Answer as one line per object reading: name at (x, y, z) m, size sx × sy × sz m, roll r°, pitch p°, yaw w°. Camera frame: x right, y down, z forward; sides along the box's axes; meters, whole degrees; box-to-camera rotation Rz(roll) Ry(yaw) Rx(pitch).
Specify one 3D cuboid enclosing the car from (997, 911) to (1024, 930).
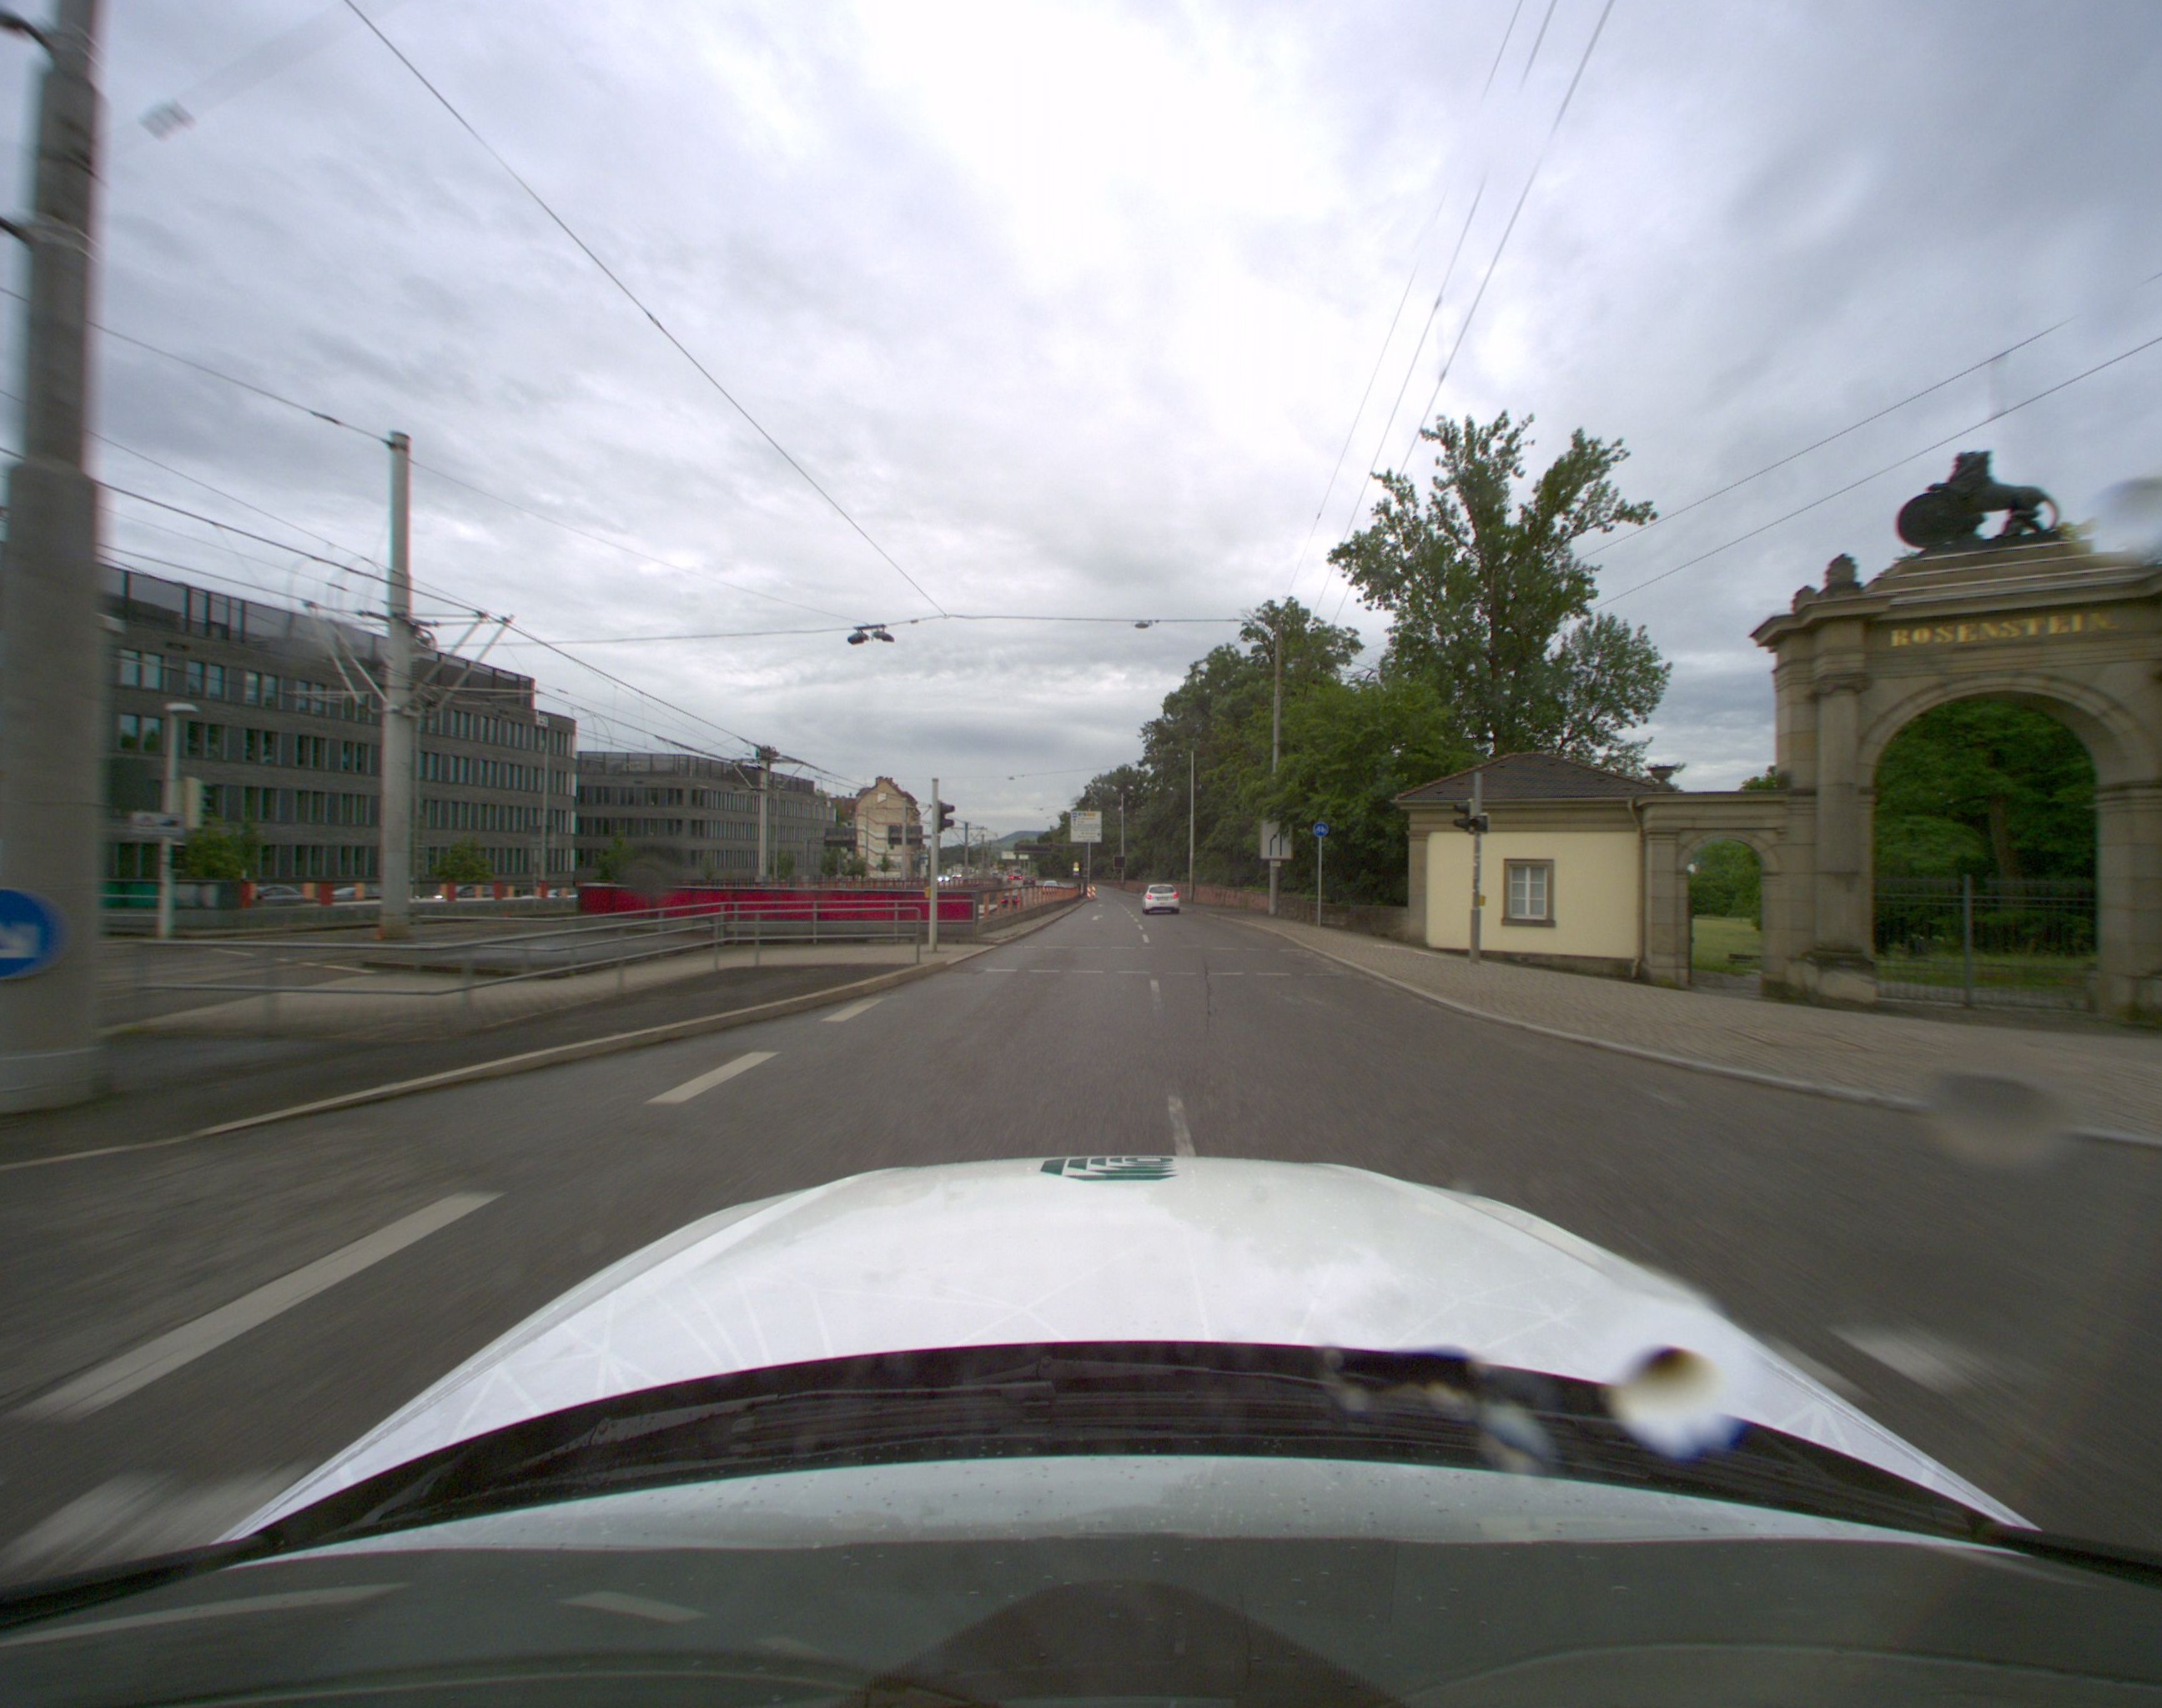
car at (-6.494, 6.146, 75.326) m, size 1.986 × 1.576 × 4.000 m, roll -1°, pitch -3°, yaw 1°

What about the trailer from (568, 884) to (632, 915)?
trailer at (-34.062, 3.265, 57.857) m, size 1.819 × 2.075 × 4.273 m, roll 0°, pitch -5°, yaw 1°

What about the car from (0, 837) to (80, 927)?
car at (-35.190, 0.883, 24.876) m, size 1.986 × 2.832 × 5.718 m, roll -2°, pitch -3°, yaw 2°

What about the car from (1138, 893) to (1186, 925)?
car at (4.004, 2.774, 40.861) m, size 1.949 × 1.489 × 3.996 m, roll 1°, pitch -5°, yaw -1°

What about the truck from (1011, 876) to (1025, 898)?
truck at (-17.964, 9.451, 231.747) m, size 3.460 × 5.403 × 12.022 m, roll 1°, pitch -5°, yaw -5°

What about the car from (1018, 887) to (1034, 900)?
car at (-7.932, 5.692, 116.860) m, size 1.992 × 1.873 × 3.989 m, roll -1°, pitch -3°, yaw -7°

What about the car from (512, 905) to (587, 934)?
car at (-33.989, 4.240, 52.252) m, size 1.819 × 1.750 × 4.273 m, roll 0°, pitch -5°, yaw 1°

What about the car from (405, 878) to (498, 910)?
car at (-34.437, 2.212, 44.682) m, size 1.817 × 1.586 × 3.833 m, roll 0°, pitch -5°, yaw 4°

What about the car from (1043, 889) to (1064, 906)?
car at (-3.225, 5.081, 95.138) m, size 2.079 × 1.873 × 4.086 m, roll -1°, pitch -3°, yaw -6°
